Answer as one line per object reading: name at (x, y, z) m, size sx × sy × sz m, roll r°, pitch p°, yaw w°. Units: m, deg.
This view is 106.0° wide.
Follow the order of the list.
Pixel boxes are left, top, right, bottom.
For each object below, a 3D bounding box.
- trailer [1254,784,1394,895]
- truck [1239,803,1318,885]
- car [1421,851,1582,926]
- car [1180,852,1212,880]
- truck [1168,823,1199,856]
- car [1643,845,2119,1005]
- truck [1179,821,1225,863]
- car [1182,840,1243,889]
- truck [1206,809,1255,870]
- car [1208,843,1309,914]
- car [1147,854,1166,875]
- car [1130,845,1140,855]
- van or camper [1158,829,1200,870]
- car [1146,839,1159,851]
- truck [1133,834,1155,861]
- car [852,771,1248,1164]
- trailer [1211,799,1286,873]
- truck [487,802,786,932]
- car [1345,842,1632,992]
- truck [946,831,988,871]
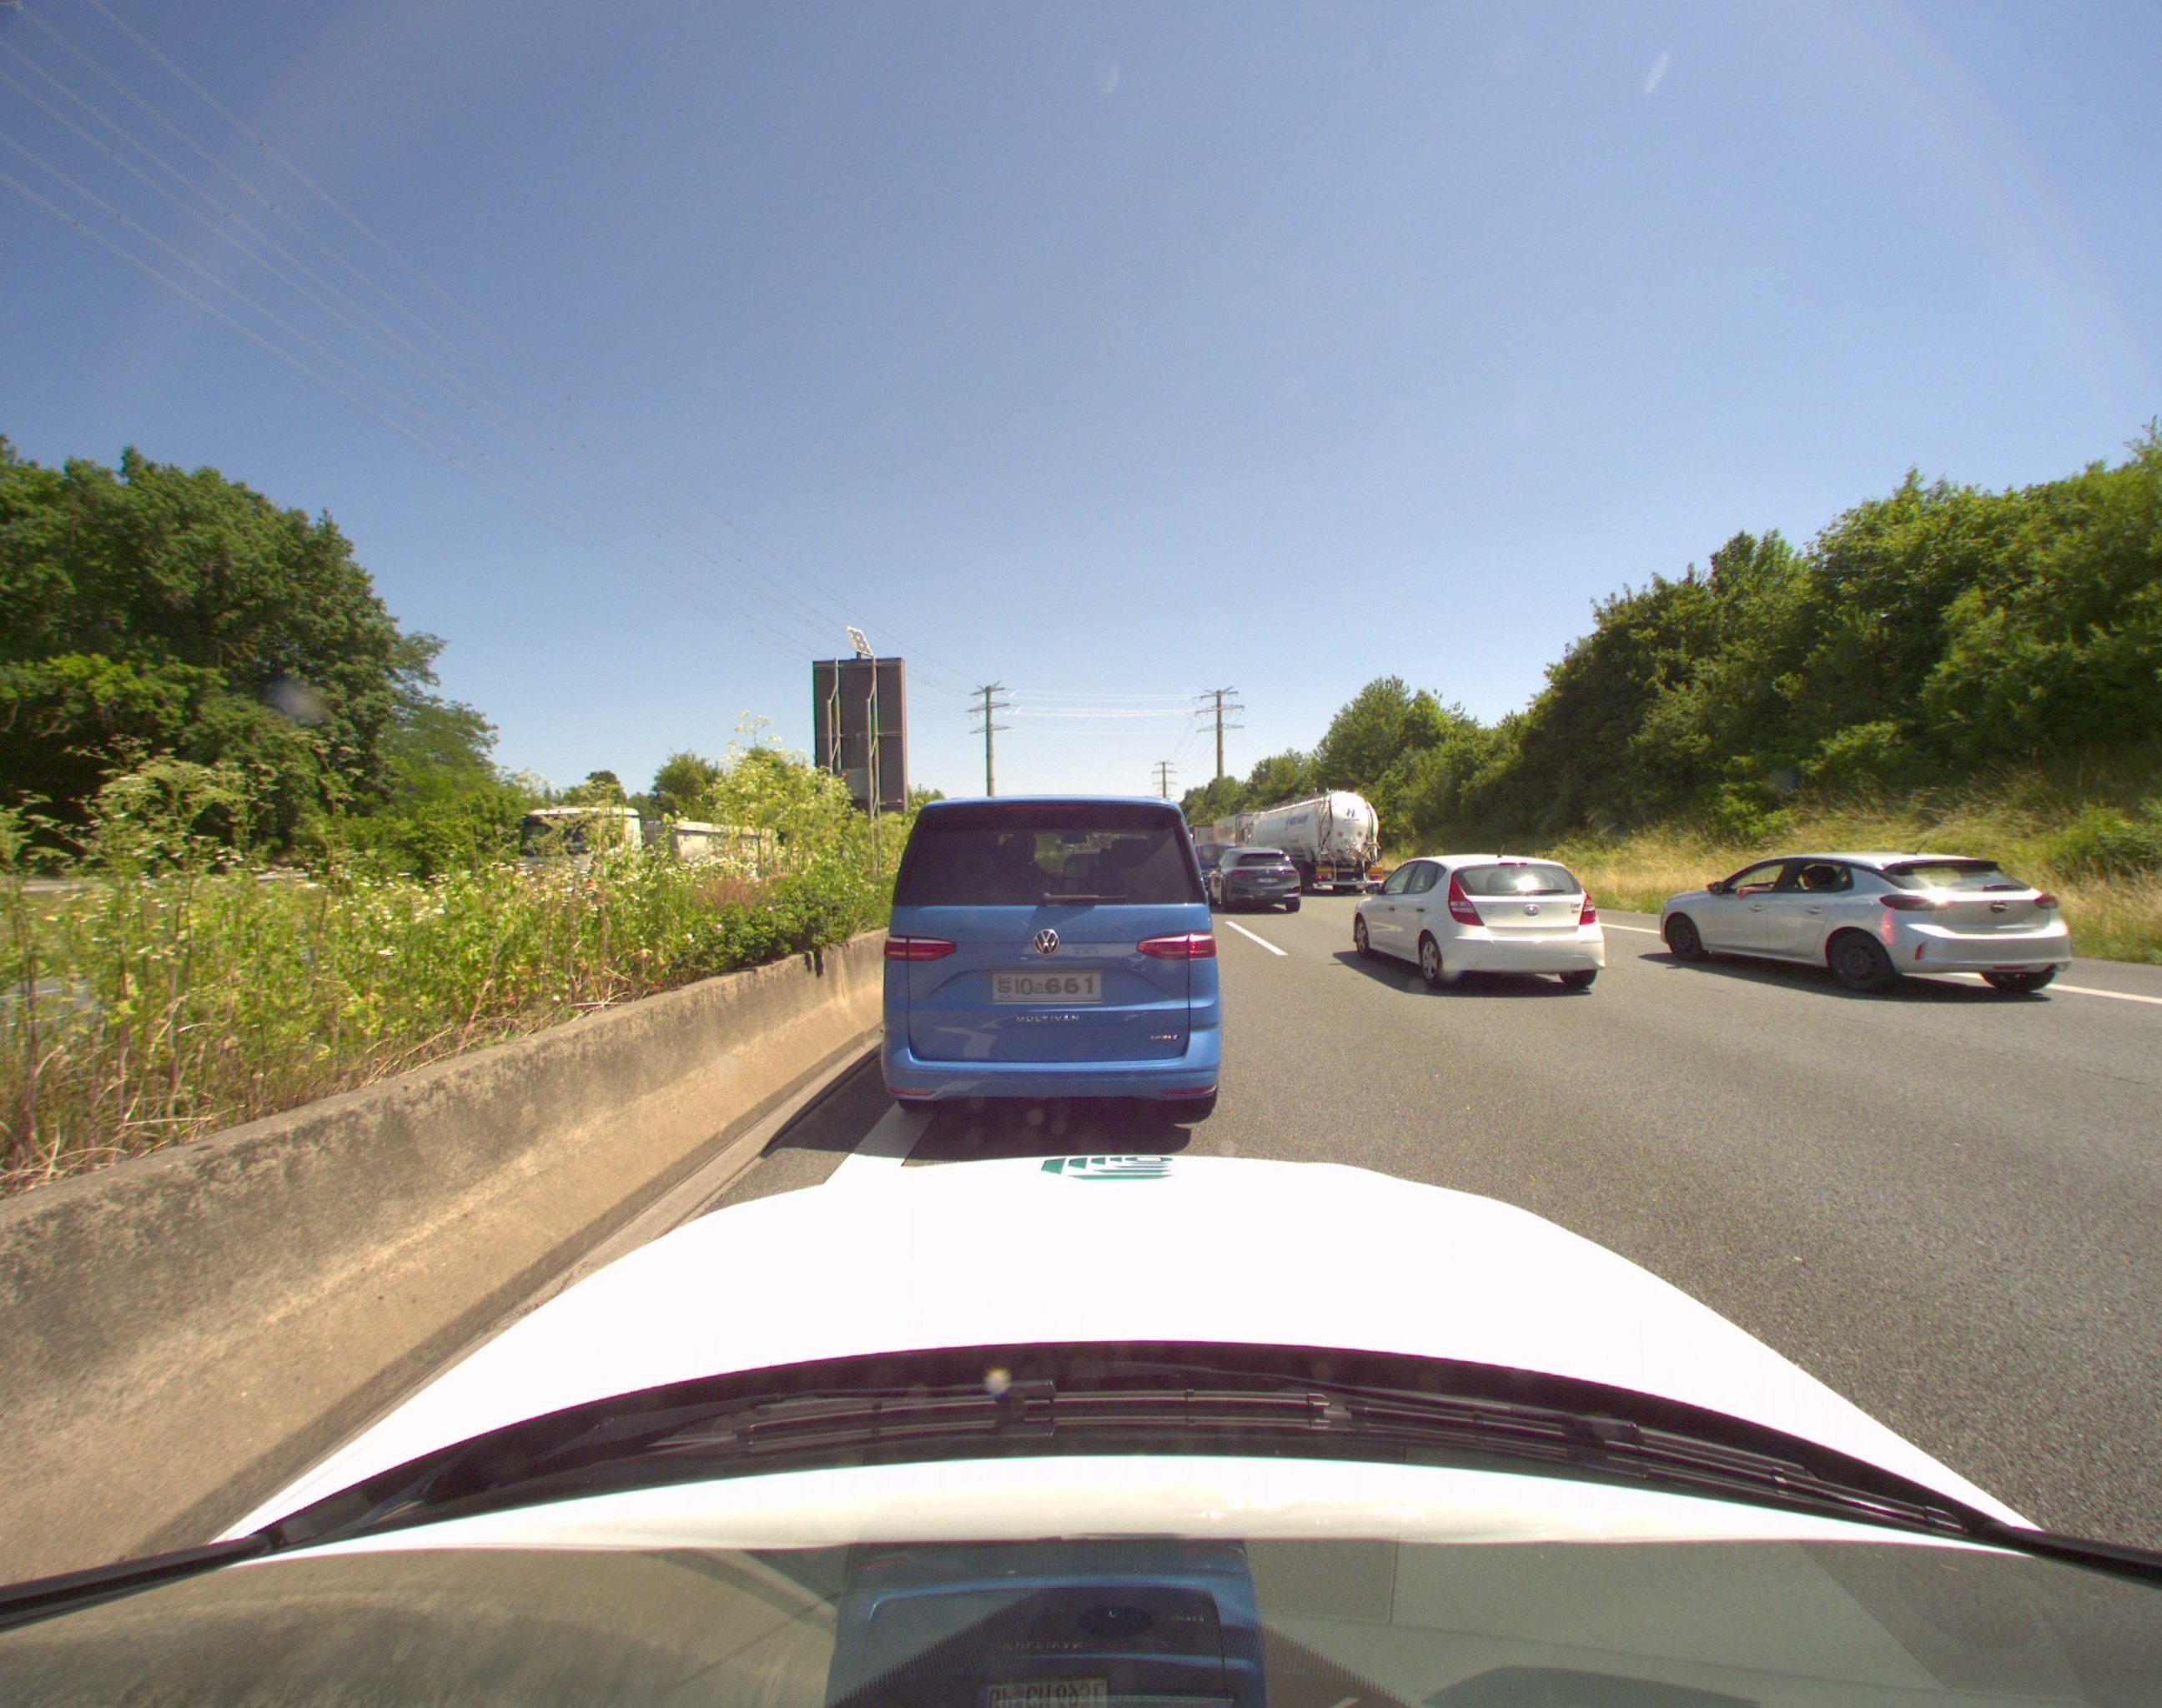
trailer at (9.767, -0.486, 34.425) m, size 2.751 × 3.845 × 11.490 m, roll -2°, pitch 0°, yaw 2°
truck at (9.975, -0.459, 41.689) m, size 2.782 × 3.836 × 5.574 m, roll -2°, pitch 0°, yaw 2°
car at (9.157, 0.718, 18.108) m, size 1.634 × 1.416 × 3.991 m, roll -2°, pitch -1°, yaw 3°
car at (6.208, 0.651, 44.295) m, size 1.355 × 1.420 × 3.887 m, roll -2°, pitch -1°, yaw 3°
truck at (12.966, -1.694, 104.047) m, size 2.883 × 3.766 × 13.355 m, roll -1°, pitch -1°, yaw 3°
car at (8.848, 0.648, 9.607) m, size 1.724 × 1.443 × 4.030 m, roll -2°, pitch 0°, yaw 2°
truck at (11.774, -0.999, 80.810) m, size 2.993 × 3.766 × 15.724 m, roll -1°, pitch -1°, yaw 3°
car at (5.638, 0.456, 35.447) m, size 1.917 × 1.925 × 4.234 m, roll -2°, pitch -1°, yaw 0°
truck at (11.506, -1.043, 63.246) m, size 2.901 × 4.469 × 5.144 m, roll -2°, pitch 0°, yaw 2°
car at (4.782, 0.654, 22.601) m, size 1.991 × 1.715 × 4.628 m, roll -2°, pitch -1°, yaw 3°
car at (7.916, 1.105, 85.358) m, size 1.828 × 1.998 × 4.004 m, roll -2°, pitch -1°, yaw 4°
car at (12.280, -0.843, 186.027) m, size 1.986 × 2.126 × 4.001 m, roll -1°, pitch -1°, yaw 2°
van or camper at (7.757, -0.300, 65.294) m, size 2.944 × 3.022 × 7.109 m, roll -1°, pitch -1°, yaw 4°
car at (12.685, -1.563, 144.582) m, size 1.985 × 2.014 × 4.002 m, roll -1°, pitch -1°, yaw 2°
truck at (9.161, -0.880, 119.696) m, size 2.883 × 3.766 × 10.148 m, roll -1°, pitch -1°, yaw 3°
car at (-0.071, 0.540, 5.929) m, size 1.912 × 1.886 × 4.002 m, roll 0°, pitch 0°, yaw 2°
trailer at (11.232, -1.082, 55.916) m, size 2.901 × 4.469 × 12.159 m, roll -2°, pitch 0°, yaw 2°
truck at (-13.677, 0.364, 27.006) m, size 2.753 × 3.288 × 11.830 m, roll -2°, pitch 0°, yaw 3°
car at (4.803, 0.675, 10.324) m, size 1.809 × 1.485 × 4.003 m, roll -2°, pitch -1°, yaw 3°
truck at (-11.059, -0.247, 79.717) m, size 3.060 × 3.709 × 5.465 m, roll -1°, pitch 0°, yaw 2°
